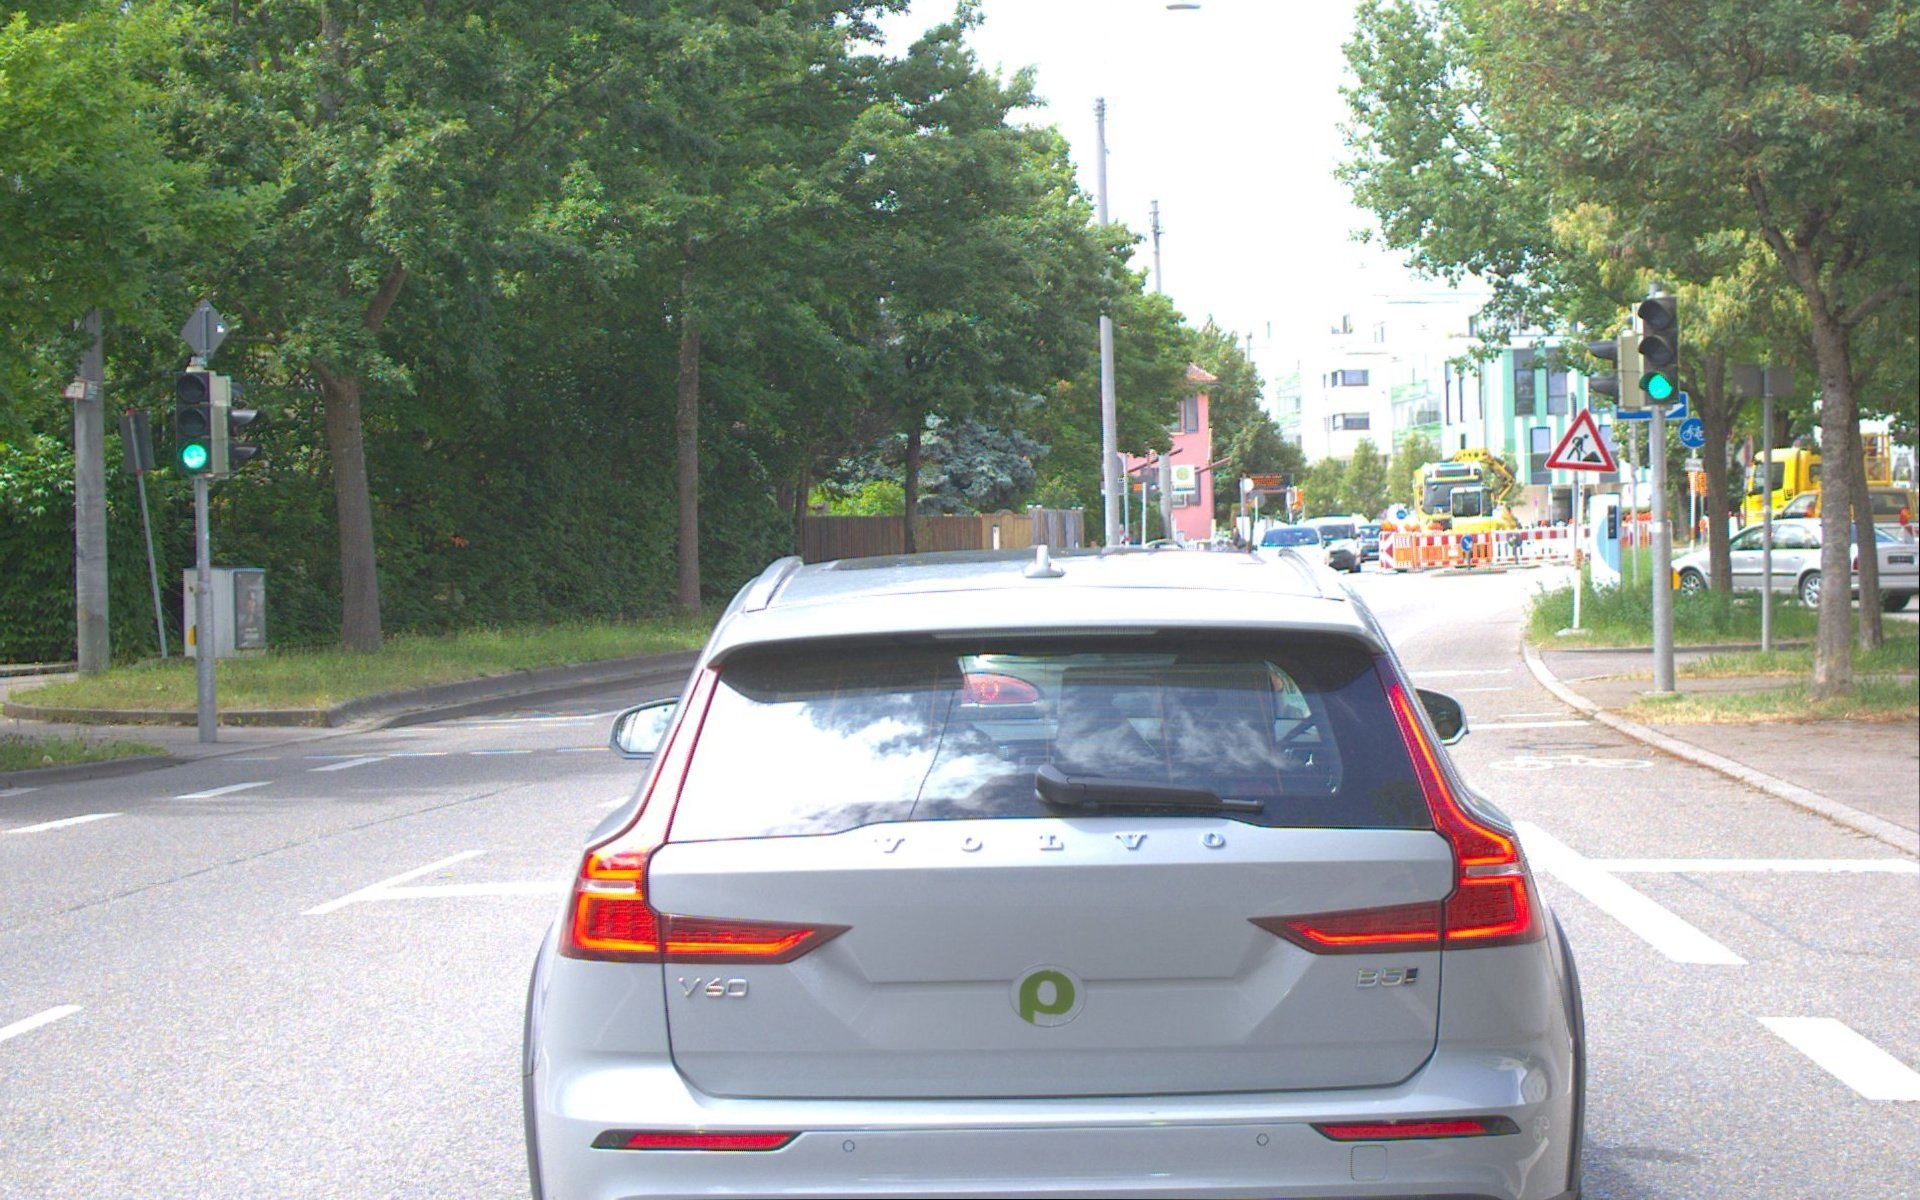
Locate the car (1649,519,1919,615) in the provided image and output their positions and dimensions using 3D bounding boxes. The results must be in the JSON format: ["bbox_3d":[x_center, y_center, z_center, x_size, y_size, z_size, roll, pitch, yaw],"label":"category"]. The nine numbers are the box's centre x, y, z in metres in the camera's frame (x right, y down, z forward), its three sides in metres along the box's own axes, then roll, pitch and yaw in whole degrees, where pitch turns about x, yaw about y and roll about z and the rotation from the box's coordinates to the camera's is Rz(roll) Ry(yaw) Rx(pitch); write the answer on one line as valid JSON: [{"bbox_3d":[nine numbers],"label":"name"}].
[{"bbox_3d":[13.165,-0.546,54.194,1.762,1.447,4.689,-1,2,-32],"label":"car"}]

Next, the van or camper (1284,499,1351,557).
[{"bbox_3d":[11.526,-2.317,110.605,1.861,1.770,4.379,-1,1,10],"label":"van or camper"}]

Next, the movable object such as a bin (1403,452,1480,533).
[{"bbox_3d":[18.503,-4.102,132.422,2.310,2.980,6.426,-2,1,3],"label":"movable object such as a bin"}]

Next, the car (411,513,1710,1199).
[{"bbox_3d":[0.160,0.608,7.157,1.928,1.535,4.000,-1,2,0],"label":"car"}]

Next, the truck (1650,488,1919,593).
[{"bbox_3d":[16.645,-1.184,68.797,1.994,2.007,5.677,1,0,-36],"label":"truck"}]

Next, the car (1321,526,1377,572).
[{"bbox_3d":[15.398,-2.016,136.275,1.994,1.731,3.999,1,0,4],"label":"car"}]

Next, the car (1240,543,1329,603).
[{"bbox_3d":[7.808,-0.638,82.500,1.829,1.325,3.998,1,-1,9],"label":"car"}]

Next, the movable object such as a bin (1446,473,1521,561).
[{"bbox_3d":[16.631,-2.640,109.121,2.035,2.634,5.937,-2,1,11],"label":"movable object such as a bin"}]

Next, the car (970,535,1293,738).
[{"bbox_3d":[1.476,0.262,27.877,2.103,1.505,3.998,1,0,10],"label":"car"}]

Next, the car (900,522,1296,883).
[{"bbox_3d":[0.662,0.428,16.592,1.661,1.503,3.702,1,0,2],"label":"car"}]

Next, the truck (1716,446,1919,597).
[{"bbox_3d":[19.032,-1.581,70.664,2.761,2.998,6.706,1,0,-34],"label":"truck"}]
